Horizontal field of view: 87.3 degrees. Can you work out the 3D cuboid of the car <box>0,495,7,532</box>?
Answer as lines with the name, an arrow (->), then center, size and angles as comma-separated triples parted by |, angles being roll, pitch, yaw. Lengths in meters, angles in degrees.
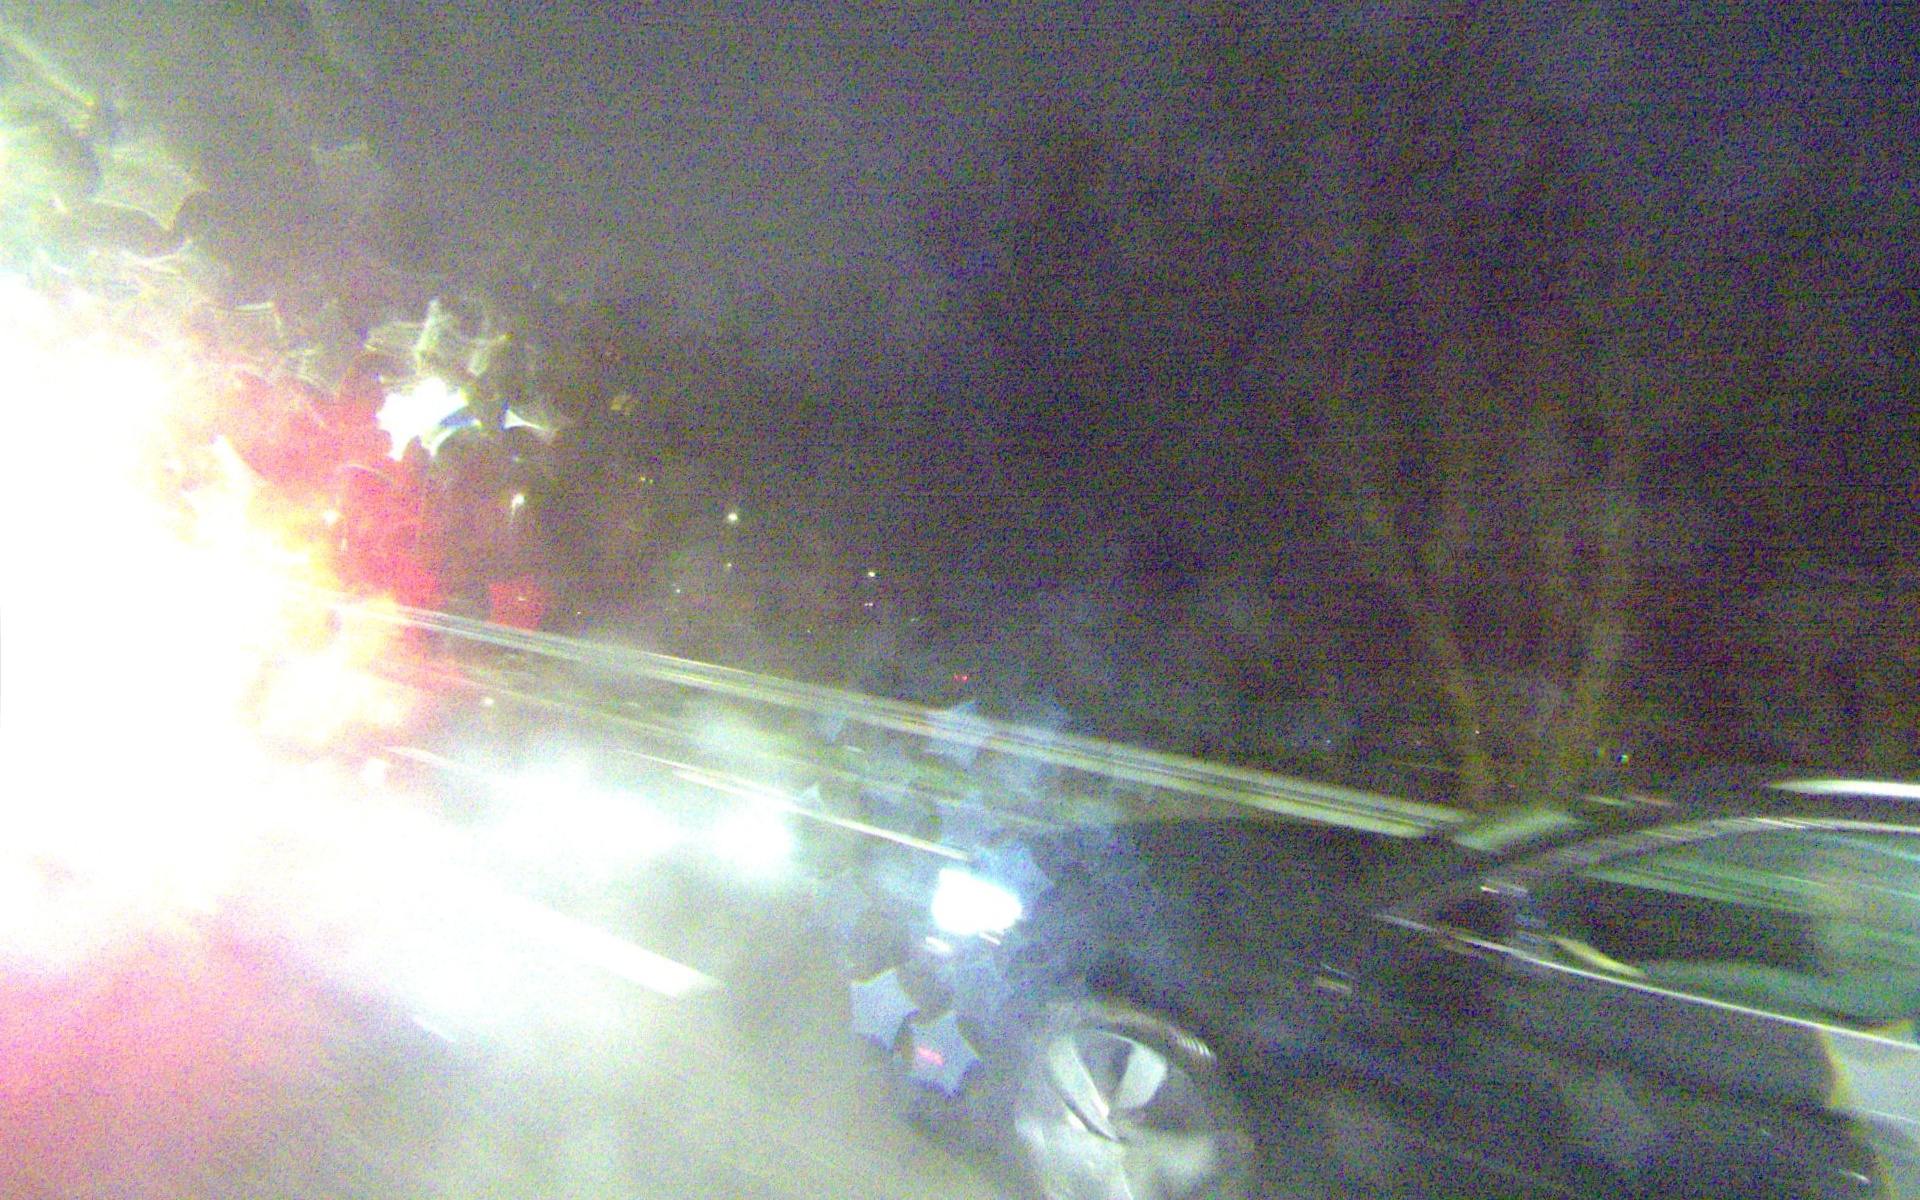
car -> -42.394, -4.005, 41.136 | 1.824, 1.536, 4.499 | 9, -2, 26

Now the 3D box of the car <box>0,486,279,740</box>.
car -> -7.163, -0.013, 7.641 | 3.894, 1.539, 1.681 | 6, -3, 31

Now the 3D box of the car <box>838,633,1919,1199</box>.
car -> 2.055, 1.141, 2.374 | 4.486, 1.522, 1.677 | 5, -4, 33
